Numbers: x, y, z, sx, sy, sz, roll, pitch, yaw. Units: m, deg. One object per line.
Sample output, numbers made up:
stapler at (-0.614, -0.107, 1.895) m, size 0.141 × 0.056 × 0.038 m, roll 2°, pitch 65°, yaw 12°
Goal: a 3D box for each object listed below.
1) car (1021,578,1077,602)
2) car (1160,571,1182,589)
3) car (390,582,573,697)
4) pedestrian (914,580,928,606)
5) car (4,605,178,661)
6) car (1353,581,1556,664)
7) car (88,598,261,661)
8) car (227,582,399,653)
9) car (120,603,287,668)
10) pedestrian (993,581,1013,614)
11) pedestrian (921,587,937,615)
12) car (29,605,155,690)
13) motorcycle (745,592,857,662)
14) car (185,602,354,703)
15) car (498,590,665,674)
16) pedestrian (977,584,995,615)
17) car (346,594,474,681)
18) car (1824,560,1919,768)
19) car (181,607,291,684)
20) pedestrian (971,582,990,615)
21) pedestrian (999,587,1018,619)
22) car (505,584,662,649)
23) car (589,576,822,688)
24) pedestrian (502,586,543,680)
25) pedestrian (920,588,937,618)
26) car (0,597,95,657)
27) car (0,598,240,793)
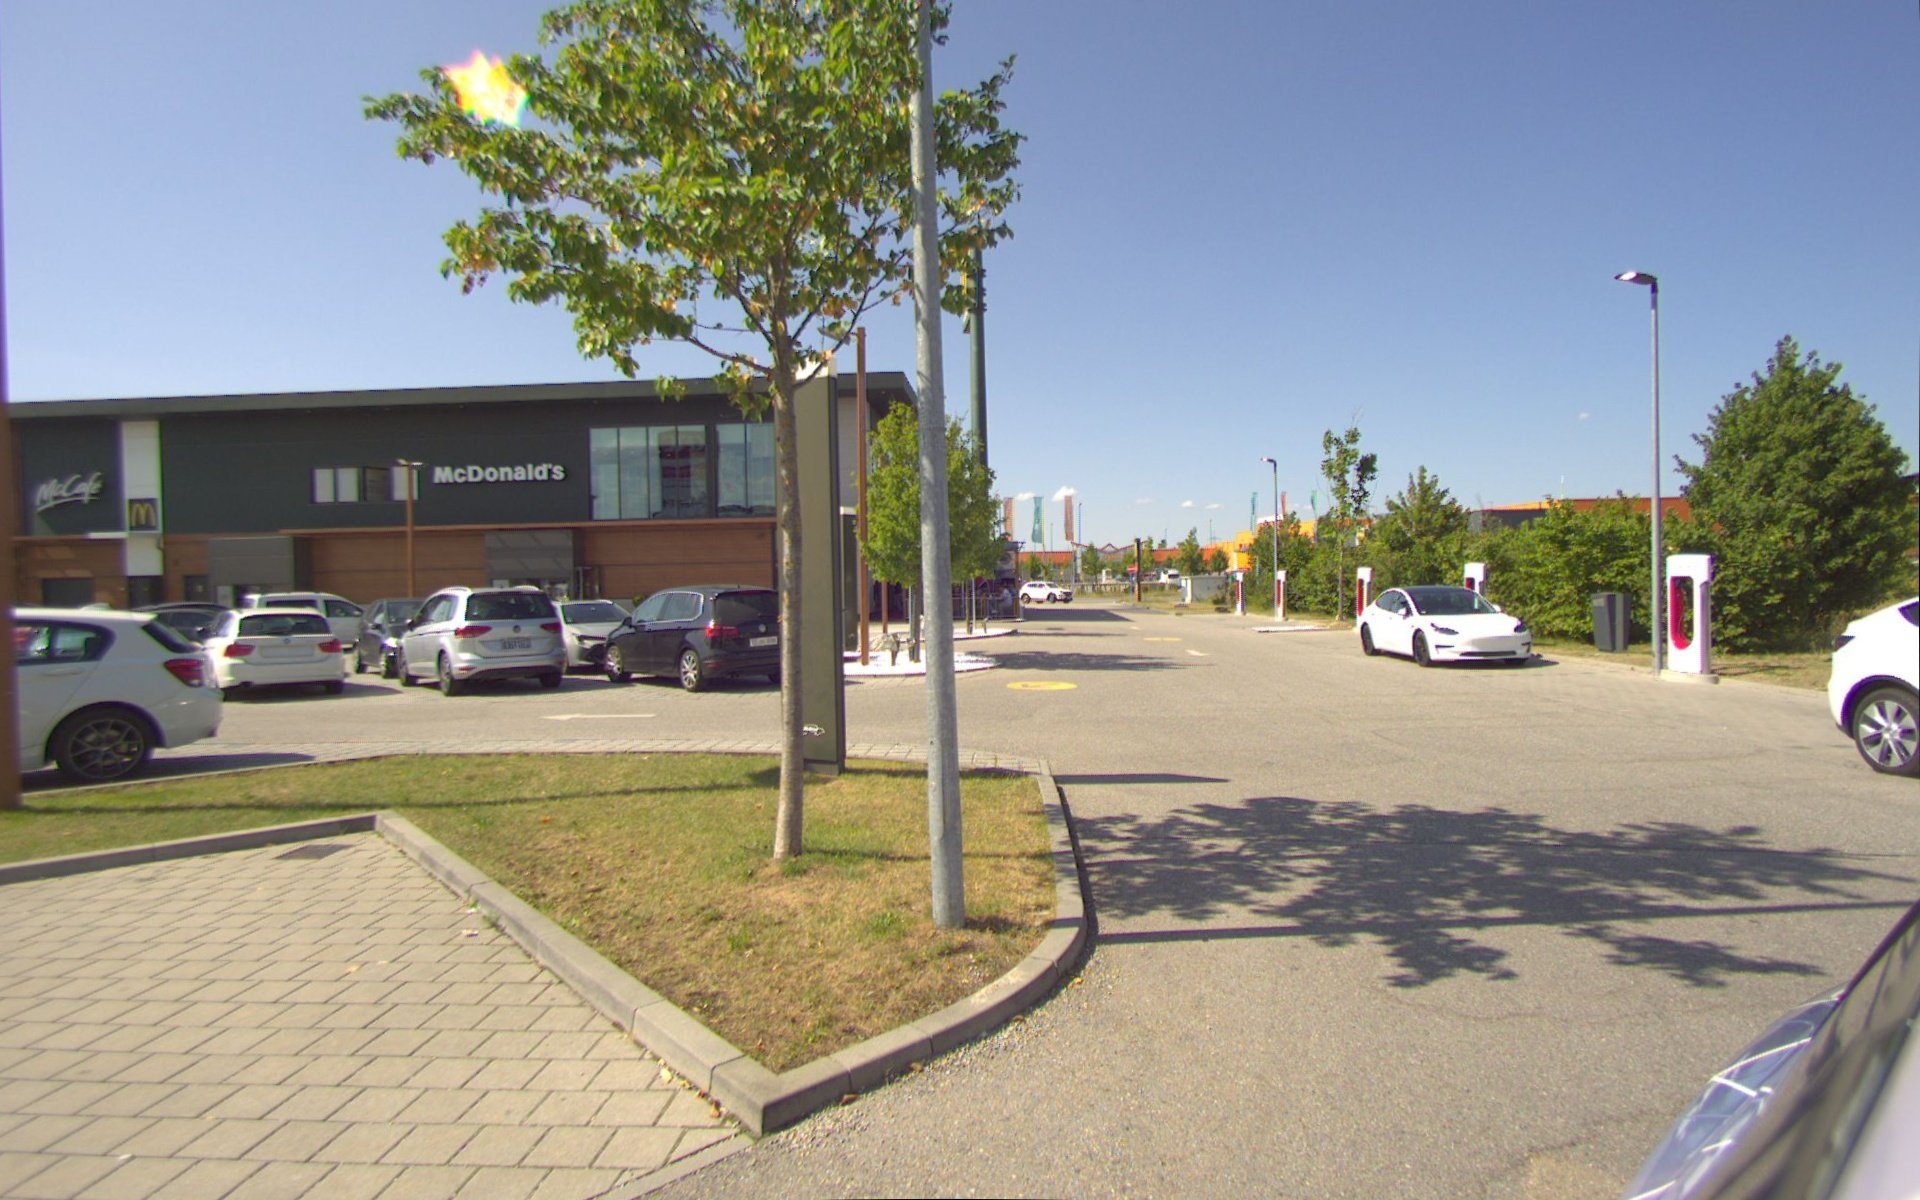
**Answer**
car at (6.640, -0.738, 75.929) m, size 1.780 × 1.683 × 3.990 m, roll -2°, pitch 1°, yaw -44°
car at (25.441, -2.399, 122.279) m, size 1.964 × 2.039 × 3.997 m, roll -1°, pitch 1°, yaw 3°
car at (-8.096, 0.594, 16.938) m, size 1.718 × 1.660 × 4.060 m, roll -2°, pitch 1°, yaw -41°
pedestrian at (-1.685, -0.299, 43.779) m, size 0.563 × 1.114 × 0.656 m, roll -2°, pitch 0°, yaw 2°
car at (-26.635, 0.974, 31.142) m, size 1.662 × 1.462 × 3.731 m, roll -1°, pitch 2°, yaw 32°
car at (9.372, 0.352, 19.635) m, size 1.788 × 1.395 × 4.448 m, roll -1°, pitch 1°, yaw 1°
car at (-23.570, 0.836, 30.471) m, size 1.748 × 1.652 × 3.794 m, roll -1°, pitch 1°, yaw 37°
car at (-19.606, 0.472, 30.781) m, size 1.752 × 1.945 × 4.082 m, roll -1°, pitch 1°, yaw 43°
car at (-20.078, 0.892, 26.936) m, size 1.563 × 1.500 × 3.362 m, roll -1°, pitch 2°, yaw 44°
pedestrian at (1.723, -0.112, 40.307) m, size 0.716 × 1.274 × 0.573 m, roll -2°, pitch 0°, yaw -1°
pedestrian at (-1.246, 0.036, 40.672) m, size 0.622 × 1.138 × 0.524 m, roll -2°, pitch 0°, yaw 0°
car at (-18.464, 0.918, 21.627) m, size 1.854 × 1.530 × 4.536 m, roll -2°, pitch 1°, yaw -40°
motorcycle at (-3.194, 0.532, 20.189) m, size 1.054 × 1.266 × 2.245 m, roll -4°, pitch 1°, yaw -44°
car at (-11.555, 0.789, 16.822) m, size 1.763 × 1.426 × 4.073 m, roll -2°, pitch 0°, yaw -42°
car at (-7.862, 0.640, 20.755) m, size 1.803 × 1.465 × 4.656 m, roll -2°, pitch 0°, yaw -39°
pedestrian at (1.062, -0.024, 42.000) m, size 0.702 × 1.274 × 0.524 m, roll -2°, pitch 0°, yaw 0°
car at (-11.618, 0.702, 21.241) m, size 1.779 × 1.613 × 3.998 m, roll -2°, pitch 1°, yaw -37°
car at (8.384, 0.512, 6.488) m, size 1.835 × 1.620 × 4.489 m, roll -1°, pitch 1°, yaw 0°
car at (-16.088, 0.918, 22.416) m, size 1.796 × 1.467 × 4.072 m, roll -2°, pitch 1°, yaw -38°
pedestrian at (0.811, -0.067, 40.078) m, size 0.702 × 1.274 × 0.524 m, roll -2°, pitch 0°, yaw 0°
pedestrian at (1.989, 0.115, 41.936) m, size 0.716 × 1.274 × 0.573 m, roll -2°, pitch 0°, yaw -1°
car at (-11.588, 0.445, 31.338) m, size 4.158 × 1.622 × 1.787 m, roll -5°, pitch 5°, yaw -43°
car at (-4.221, 0.436, 16.369) m, size 1.865 × 1.556 × 4.181 m, roll -2°, pitch 1°, yaw -43°
pedestrian at (-8.273, 0.609, 19.144) m, size 0.599 × 1.734 × 0.563 m, roll -1°, pitch 0°, yaw -33°
pedestrian at (-1.233, 0.120, 40.103) m, size 0.622 × 1.138 × 0.524 m, roll -2°, pitch 0°, yaw 0°
car at (-29.821, 0.855, 31.551) m, size 1.658 × 1.727 × 4.005 m, roll -1°, pitch 2°, yaw 25°
car at (-8.344, 0.769, 7.989) m, size 4.117 × 1.443 × 1.839 m, roll -2°, pitch 1°, yaw -44°
